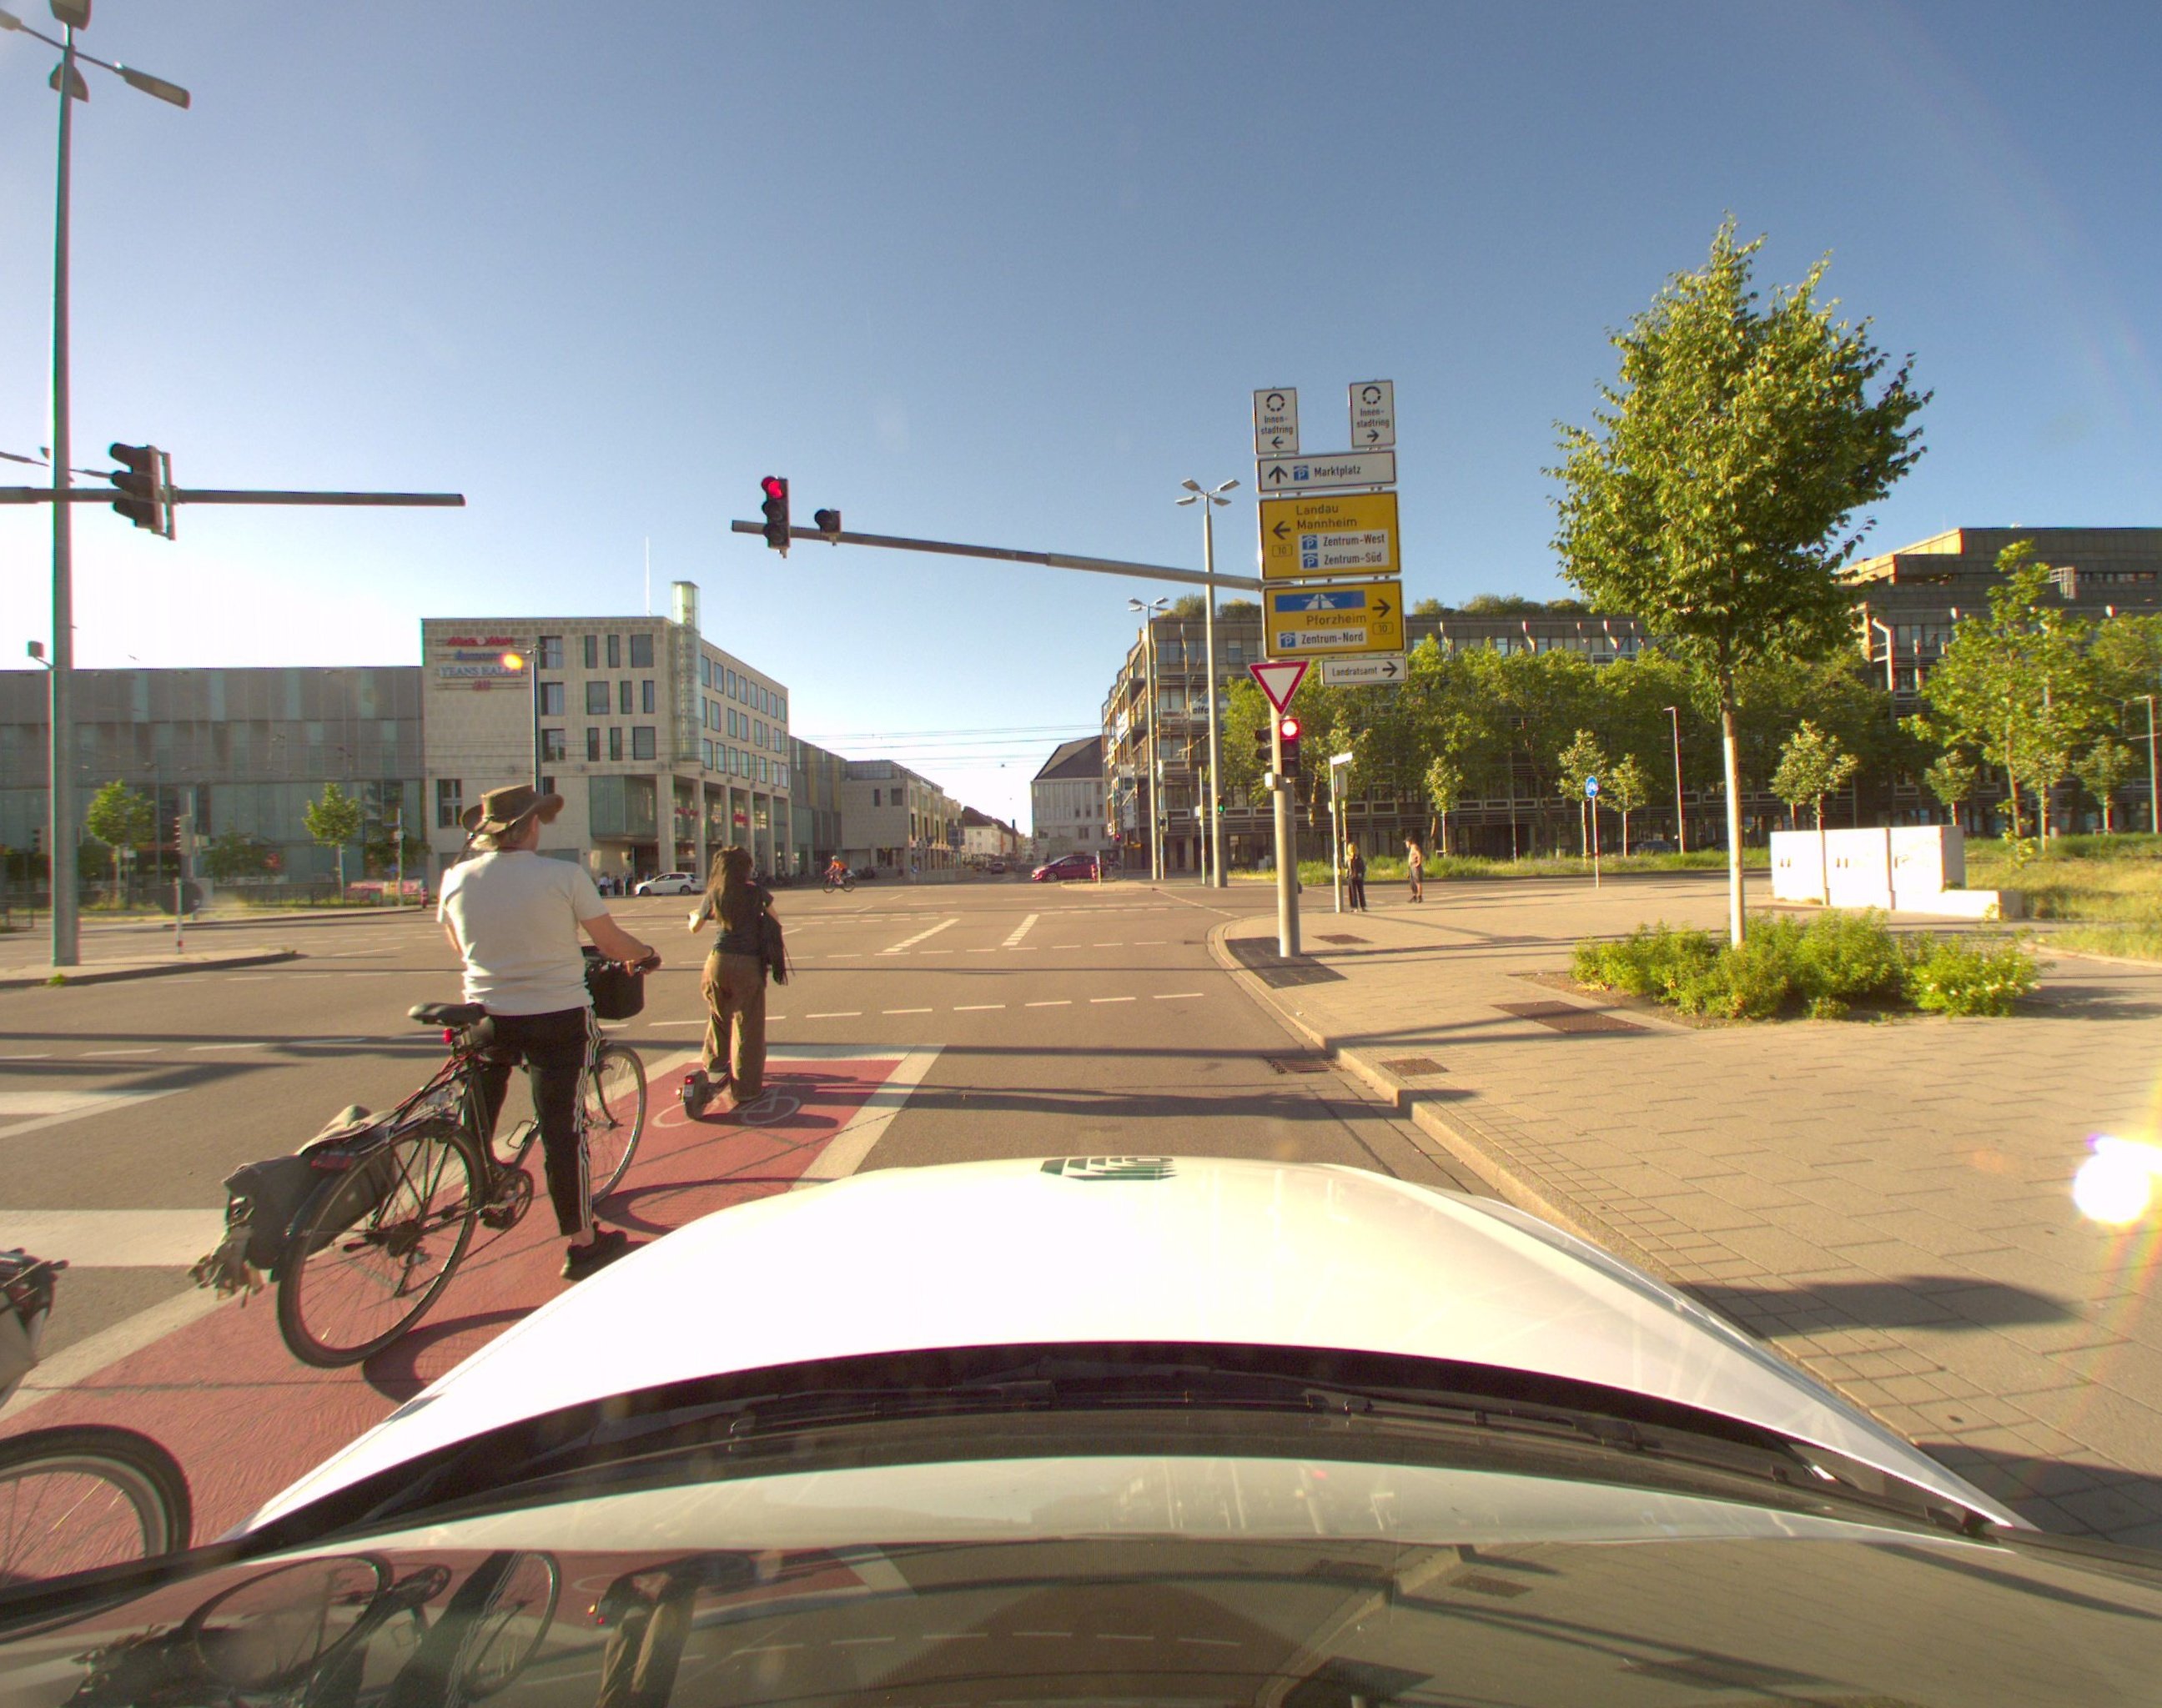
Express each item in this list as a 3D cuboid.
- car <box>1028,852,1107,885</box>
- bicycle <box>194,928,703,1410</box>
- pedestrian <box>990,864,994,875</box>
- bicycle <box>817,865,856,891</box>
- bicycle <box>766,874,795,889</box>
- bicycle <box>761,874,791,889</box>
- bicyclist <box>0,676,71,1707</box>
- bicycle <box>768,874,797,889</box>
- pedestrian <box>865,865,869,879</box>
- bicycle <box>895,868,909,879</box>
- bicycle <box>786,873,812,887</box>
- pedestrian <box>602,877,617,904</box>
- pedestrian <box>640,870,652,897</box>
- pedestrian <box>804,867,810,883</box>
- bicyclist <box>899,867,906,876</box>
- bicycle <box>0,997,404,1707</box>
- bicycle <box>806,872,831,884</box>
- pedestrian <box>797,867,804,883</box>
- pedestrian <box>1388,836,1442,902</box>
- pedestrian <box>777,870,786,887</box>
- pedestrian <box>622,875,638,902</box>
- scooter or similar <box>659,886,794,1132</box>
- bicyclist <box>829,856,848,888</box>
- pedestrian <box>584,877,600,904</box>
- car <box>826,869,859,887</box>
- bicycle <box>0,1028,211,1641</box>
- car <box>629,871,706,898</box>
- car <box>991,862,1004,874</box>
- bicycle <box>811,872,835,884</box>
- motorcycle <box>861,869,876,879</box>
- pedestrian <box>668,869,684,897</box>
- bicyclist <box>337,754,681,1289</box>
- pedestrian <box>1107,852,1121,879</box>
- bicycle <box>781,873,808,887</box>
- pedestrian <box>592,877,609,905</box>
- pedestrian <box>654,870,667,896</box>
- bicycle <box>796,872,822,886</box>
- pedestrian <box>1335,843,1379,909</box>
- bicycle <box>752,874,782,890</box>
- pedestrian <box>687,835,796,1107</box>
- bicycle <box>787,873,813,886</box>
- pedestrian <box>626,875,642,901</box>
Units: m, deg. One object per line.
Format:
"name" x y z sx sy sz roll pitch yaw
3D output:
"car" -0.750 0.754 43.711 3.895 1.585 1.649 -2 -1 -18
"bicycle" -2.150 0.942 3.139 0.483 1.156 1.832 0 -1 2
"pedestrian" -12.826 2.230 117.573 0.520 1.679 0.582 0 0 -5
"bicycle" -11.245 1.080 37.438 1.657 1.154 0.491 0 -1 -36
"bicycle" -26.565 2.421 72.012 2.299 1.222 0.612 -2 0 -1
"bicycle" -26.462 2.409 70.653 2.299 1.222 0.612 -2 0 -1
"bicyclist" -1.673 0.569 0.648 0.639 1.579 0.875 0 0 -1
"bicycle" -26.740 2.429 72.897 2.299 1.222 0.612 -2 0 -1
"pedestrian" -26.102 2.182 99.357 0.521 1.679 0.580 0 0 -12
"bicycle" -21.979 2.380 100.147 0.505 1.206 1.822 0 0 31
"bicycle" -27.063 2.474 78.133 2.299 1.222 0.612 -2 0 -1
"pedestrian" -33.992 2.618 58.721 0.714 1.885 0.786 0 -1 -6
"pedestrian" -31.034 2.094 58.099 0.718 1.885 0.781 0 -1 -25
"pedestrian" -29.456 2.254 87.536 0.553 1.679 0.606 0 0 -8
"bicyclist" -21.978 2.154 100.159 0.505 1.084 0.629 0 0 32
"bicycle" -1.669 0.902 0.723 0.614 1.218 1.831 0 0 -1
"bicycle" -27.588 2.539 85.583 2.299 1.222 0.612 -2 0 -1
"pedestrian" -30.099 2.272 87.389 0.570 1.679 0.614 0 0 -8
"pedestrian" 8.611 0.381 21.012 0.881 1.665 0.958 0 -1 -19
"pedestrian" -29.758 2.418 80.934 0.445 1.719 0.653 -2 0 24
"pedestrian" -31.947 2.444 57.693 0.783 1.885 0.716 0 -1 -4
"scooter or similar" -2.158 0.869 5.075 0.547 1.294 1.188 0 -1 -13
"bicyclist" -11.160 0.832 37.492 0.716 1.437 0.491 0 -1 -36
"pedestrian" -35.035 2.590 58.347 0.783 1.885 0.716 0 -1 -4
"car" -20.625 2.044 70.508 1.625 1.342 3.999 -4 -1 0
"bicycle" -2.424 0.981 0.981 0.645 1.109 1.970 0 0 -1
"car" -25.624 1.892 50.575 3.892 1.585 1.656 0 -1 -5
"car" -11.137 1.849 108.656 1.735 1.531 3.848 0 -1 -5
"bicycle" -27.424 2.547 86.648 2.299 1.222 0.612 -2 0 -1
"motorcycle" -25.781 2.421 98.740 1.807 1.206 0.509 0 0 -14
"pedestrian" -30.324 2.158 61.000 0.883 2.014 0.771 0 -1 -9
"bicyclist" -2.057 0.542 3.062 0.658 1.720 0.866 0 -1 1
"pedestrian" 2.357 0.813 58.079 0.636 1.890 0.795 -1 -1 39
"bicycle" -26.697 2.454 75.965 2.299 1.222 0.612 -2 0 -1
"pedestrian" -33.869 2.606 57.374 0.783 1.885 0.716 0 -1 -4
"pedestrian" -30.793 2.112 59.667 0.800 1.843 0.856 -2 0 -26
"bicycle" -27.185 2.502 81.344 2.299 1.222 0.612 -2 0 -1
"pedestrian" 6.308 0.498 18.655 0.785 1.492 0.644 0 -1 1
"bicycle" -26.734 2.400 69.376 2.299 1.222 0.612 -2 0 -1
"pedestrian" -2.164 0.704 5.244 0.549 1.633 0.569 0 -1 -13
"bicycle" -27.629 2.495 80.127 2.299 1.222 0.612 -2 0 -1
"pedestrian" -32.513 2.461 59.245 0.783 1.885 0.716 0 -1 -4
